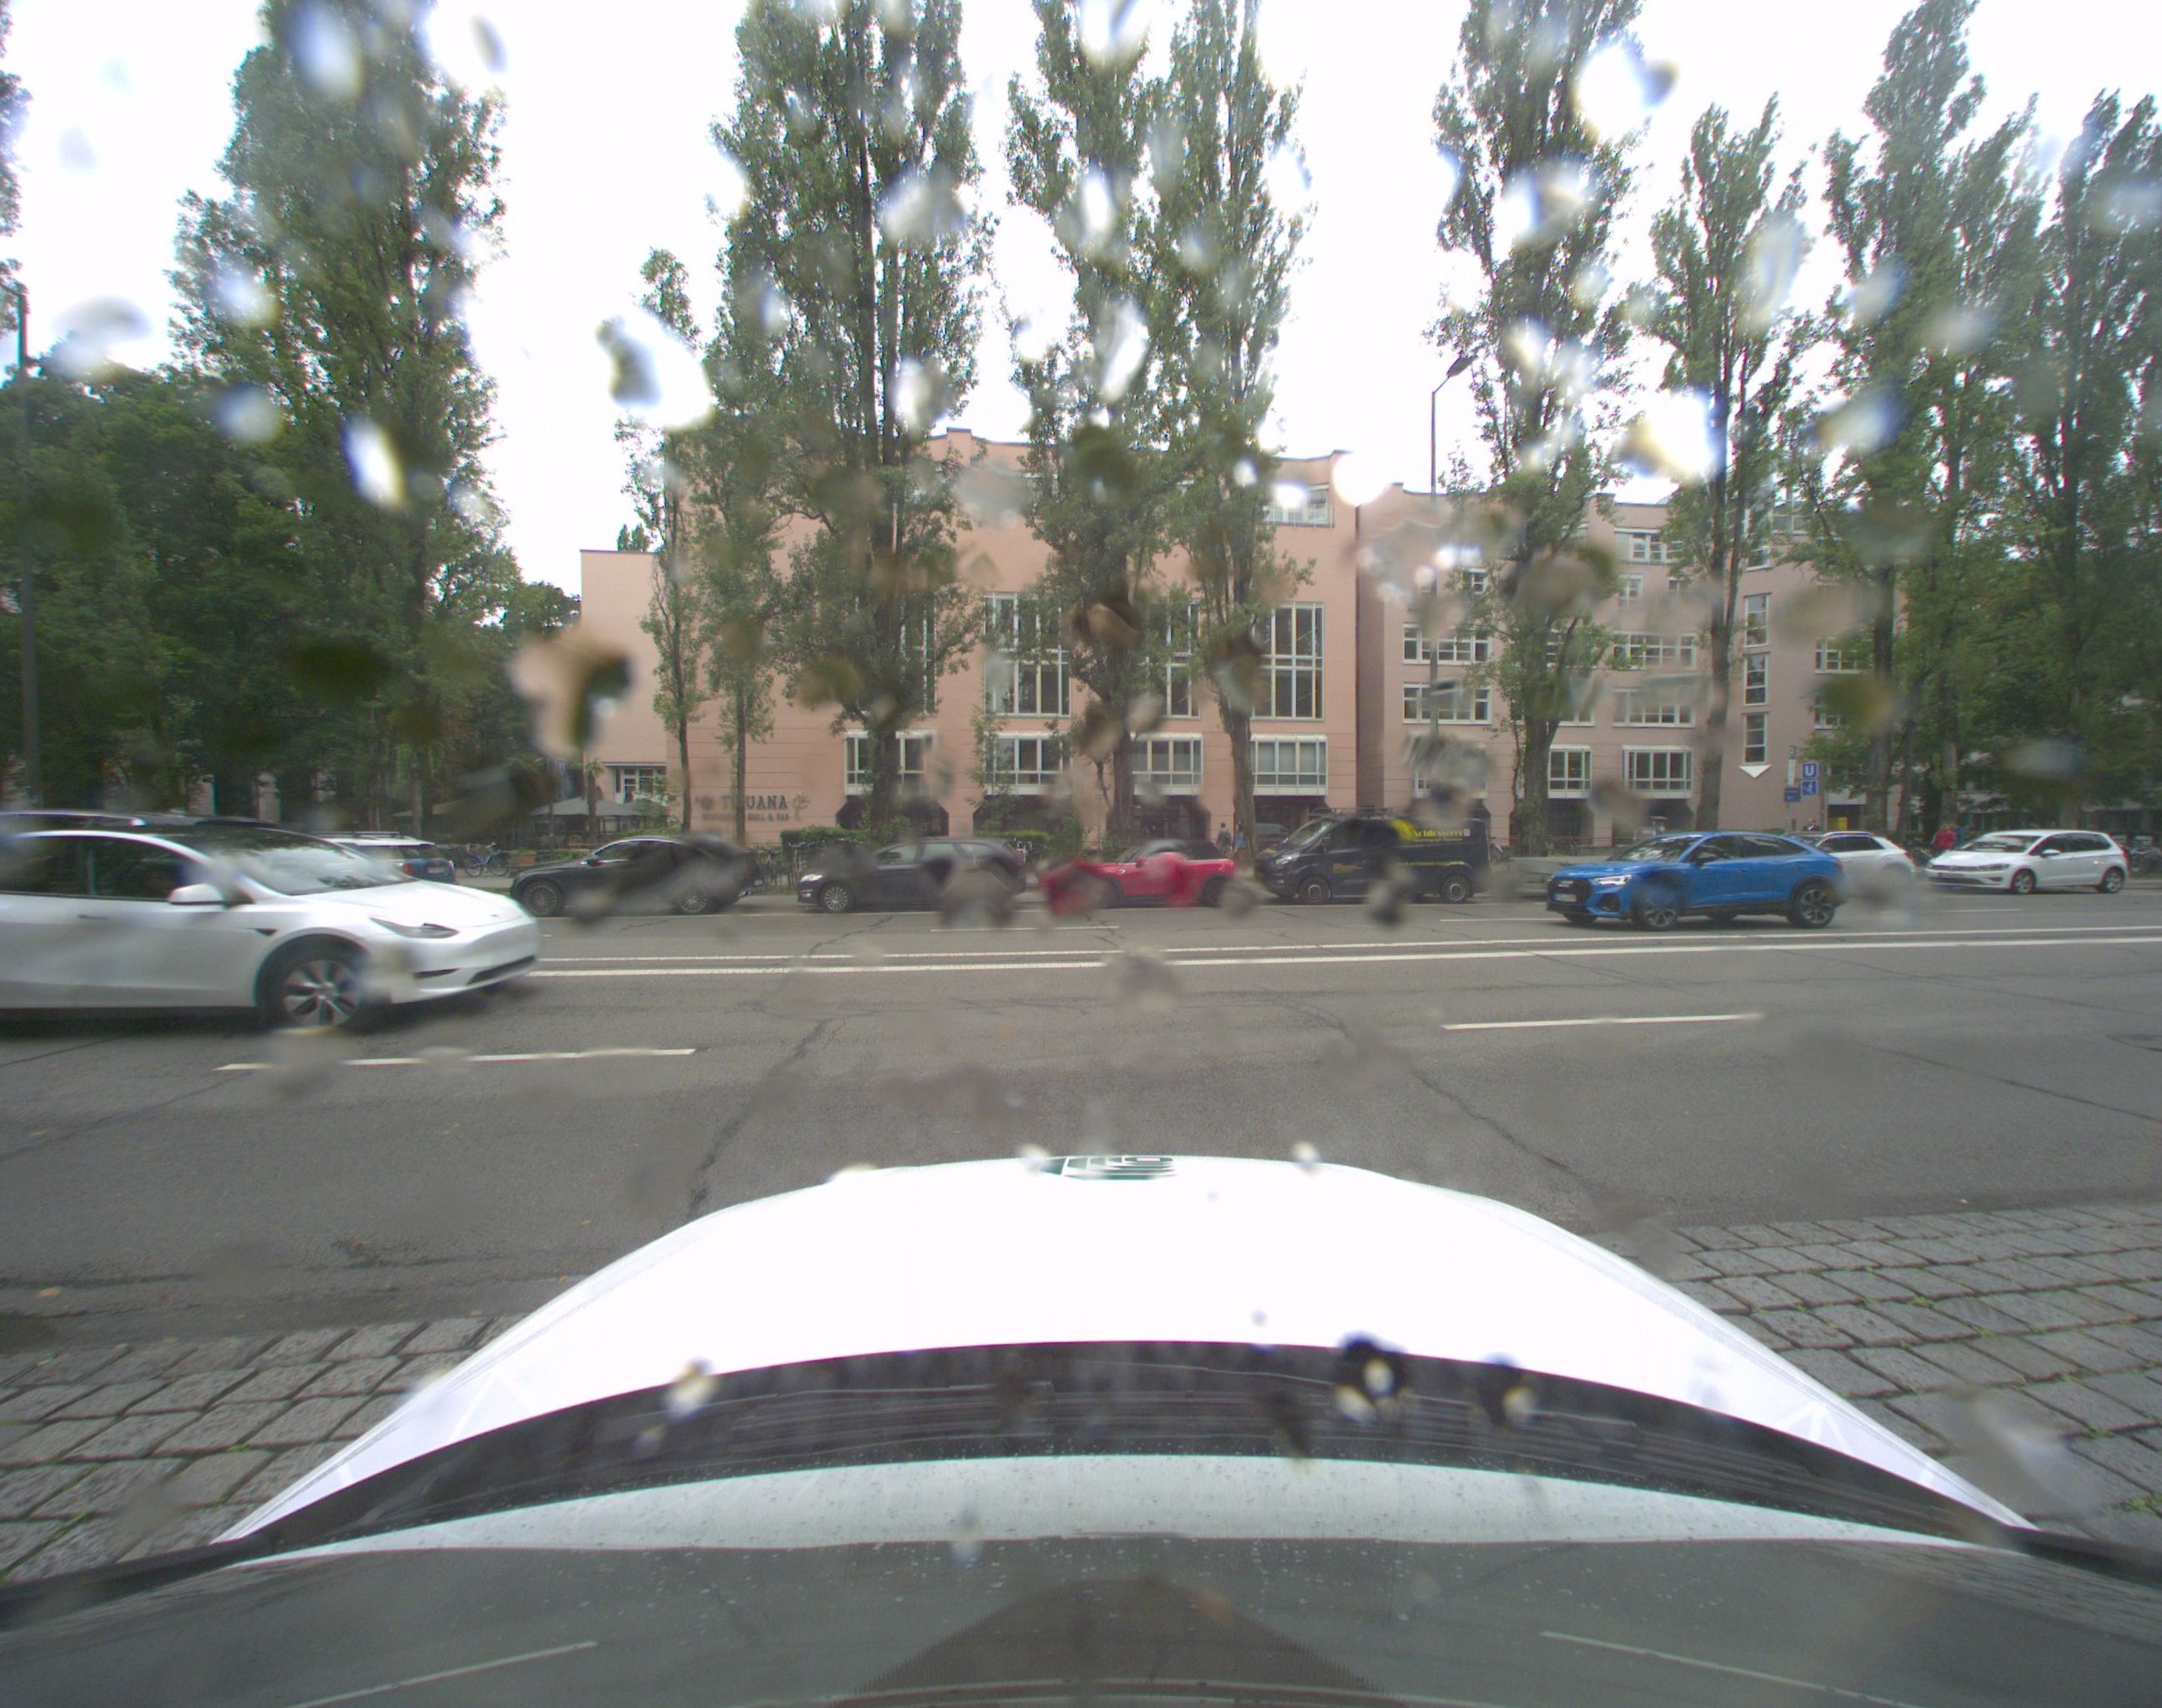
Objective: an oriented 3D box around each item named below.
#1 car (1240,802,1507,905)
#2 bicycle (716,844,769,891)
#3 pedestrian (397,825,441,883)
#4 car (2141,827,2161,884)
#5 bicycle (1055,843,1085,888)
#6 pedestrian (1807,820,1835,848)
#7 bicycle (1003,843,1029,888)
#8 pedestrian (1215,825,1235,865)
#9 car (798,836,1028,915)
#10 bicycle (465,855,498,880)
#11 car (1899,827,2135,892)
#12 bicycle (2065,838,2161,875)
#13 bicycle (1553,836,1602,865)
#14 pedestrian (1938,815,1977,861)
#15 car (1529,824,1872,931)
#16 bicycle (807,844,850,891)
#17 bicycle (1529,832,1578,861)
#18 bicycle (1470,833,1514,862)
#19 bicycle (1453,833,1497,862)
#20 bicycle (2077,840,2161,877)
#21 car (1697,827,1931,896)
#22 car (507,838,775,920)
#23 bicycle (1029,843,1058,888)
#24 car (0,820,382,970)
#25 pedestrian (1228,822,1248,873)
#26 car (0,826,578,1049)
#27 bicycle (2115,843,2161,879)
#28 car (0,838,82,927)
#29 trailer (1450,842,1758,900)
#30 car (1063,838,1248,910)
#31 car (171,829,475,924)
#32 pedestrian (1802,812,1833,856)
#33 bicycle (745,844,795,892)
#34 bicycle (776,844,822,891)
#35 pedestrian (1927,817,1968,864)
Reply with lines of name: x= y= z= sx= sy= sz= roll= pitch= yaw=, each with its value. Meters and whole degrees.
car: x=6.592 y=-0.068 z=18.699 sx=5.472 sy=2.196 sz=2.020 roll=0 pitch=2 yaw=-7
bicycle: x=-8.764 y=0.328 z=21.156 sx=0.673 sy=1.124 sz=1.986 roll=-1 pitch=2 yaw=-5
pedestrian: x=-19.720 y=-0.017 z=24.275 sx=0.728 sy=1.713 sz=0.708 roll=0 pitch=1 yaw=-5
car: x=31.590 y=0.035 z=21.764 sx=4.304 sy=1.541 sz=1.997 roll=0 pitch=2 yaw=-6
bicycle: x=-0.307 y=0.296 z=22.045 sx=0.673 sy=1.124 sz=1.726 roll=-1 pitch=2 yaw=-5
pedestrian: x=43.080 y=-1.170 z=47.435 sx=0.893 sy=1.661 sz=0.816 roll=0 pitch=1 yaw=-5
bicycle: x=-1.758 y=0.280 z=21.872 sx=0.673 sy=1.124 sz=1.739 roll=-1 pitch=2 yaw=-5
pedestrian: x=6.189 y=-0.407 z=35.026 sx=0.705 sy=1.713 sz=0.731 roll=0 pitch=1 yaw=-3
car: x=-3.480 y=0.407 z=17.502 sx=4.603 sy=1.528 sz=1.790 roll=0 pitch=2 yaw=-7
bicycle: x=-20.009 y=0.440 z=27.186 sx=0.323 sy=0.798 sz=1.029 roll=0 pitch=2 yaw=0
car: x=23.725 y=0.091 z=20.720 sx=4.310 sy=1.541 sz=1.994 roll=-1 pitch=2 yaw=-10
bicycle: x=33.136 y=0.063 z=26.108 sx=0.673 sy=1.124 sz=1.986 roll=-1 pitch=2 yaw=-5
bicycle: x=20.410 y=-0.158 z=33.543 sx=0.673 sy=1.124 sz=1.986 roll=-1 pitch=2 yaw=-5
pedestrian: x=33.088 y=-0.590 z=30.750 sx=0.728 sy=1.713 sz=0.708 roll=0 pitch=1 yaw=-5
car: x=9.997 y=0.340 z=13.337 sx=4.402 sy=1.579 sz=1.868 roll=0 pitch=0 yaw=-6
bicycle: x=-6.597 y=0.322 z=21.378 sx=0.673 sy=1.124 sz=1.986 roll=-1 pitch=2 yaw=-5
bicycle: x=19.342 y=-0.335 z=33.389 sx=0.673 sy=1.124 sz=2.103 roll=-1 pitch=2 yaw=-5
bicycle: x=16.798 y=-0.282 z=33.355 sx=0.673 sy=1.124 sz=1.986 roll=-1 pitch=2 yaw=-5
bicycle: x=16.064 y=-0.283 z=33.273 sx=0.673 sy=1.124 sz=1.986 roll=-1 pitch=2 yaw=-5
bicycle: x=33.681 y=0.115 z=26.218 sx=0.673 sy=1.124 sz=1.986 roll=-1 pitch=2 yaw=-5
car: x=17.513 y=0.157 z=19.579 sx=4.213 sy=1.542 sz=1.804 roll=-1 pitch=0 yaw=-5
car: x=-8.934 y=0.461 z=16.893 sx=4.494 sy=1.528 sz=1.790 roll=0 pitch=2 yaw=-7
bicycle: x=-1.025 y=0.274 z=21.944 sx=0.673 sy=1.124 sz=1.739 roll=-1 pitch=2 yaw=-5
car: x=-12.642 y=0.469 z=10.591 sx=5.045 sy=1.748 sz=1.994 roll=-1 pitch=1 yaw=-9
pedestrian: x=5.234 y=-0.221 z=27.179 sx=0.556 sy=1.663 sz=0.620 roll=0 pitch=2 yaw=-2
car: x=-7.323 y=0.580 z=7.005 sx=4.618 sy=1.575 sz=1.996 roll=0 pitch=3 yaw=-7
bicycle: x=34.868 y=0.221 z=26.169 sx=0.673 sy=1.124 sz=1.986 roll=-1 pitch=2 yaw=-5
car: x=-21.801 y=0.536 z=14.978 sx=4.218 sy=1.600 sz=1.790 roll=0 pitch=2 yaw=-7
trailer: x=12.255 y=0.357 z=19.355 sx=6.010 sy=1.199 sz=2.400 roll=0 pitch=2 yaw=-6
car: x=1.558 y=0.393 z=17.873 sx=3.853 sy=1.448 sz=1.676 roll=0 pitch=2 yaw=-4
car: x=-14.776 y=0.397 z=16.101 sx=4.062 sy=1.731 sz=1.789 roll=0 pitch=0 yaw=-8
pedestrian: x=26.821 y=-0.729 z=29.668 sx=0.652 sy=1.604 sz=0.561 roll=0 pitch=1 yaw=14
bicycle: x=-8.079 y=0.335 z=21.235 sx=0.673 sy=1.124 sz=1.986 roll=-1 pitch=2 yaw=-5
bicycle: x=-7.340 y=0.329 z=21.295 sx=0.673 sy=1.124 sz=1.986 roll=-1 pitch=2 yaw=-5
pedestrian: x=31.793 y=-0.502 z=29.878 sx=0.728 sy=1.713 sz=0.708 roll=0 pitch=1 yaw=-5
